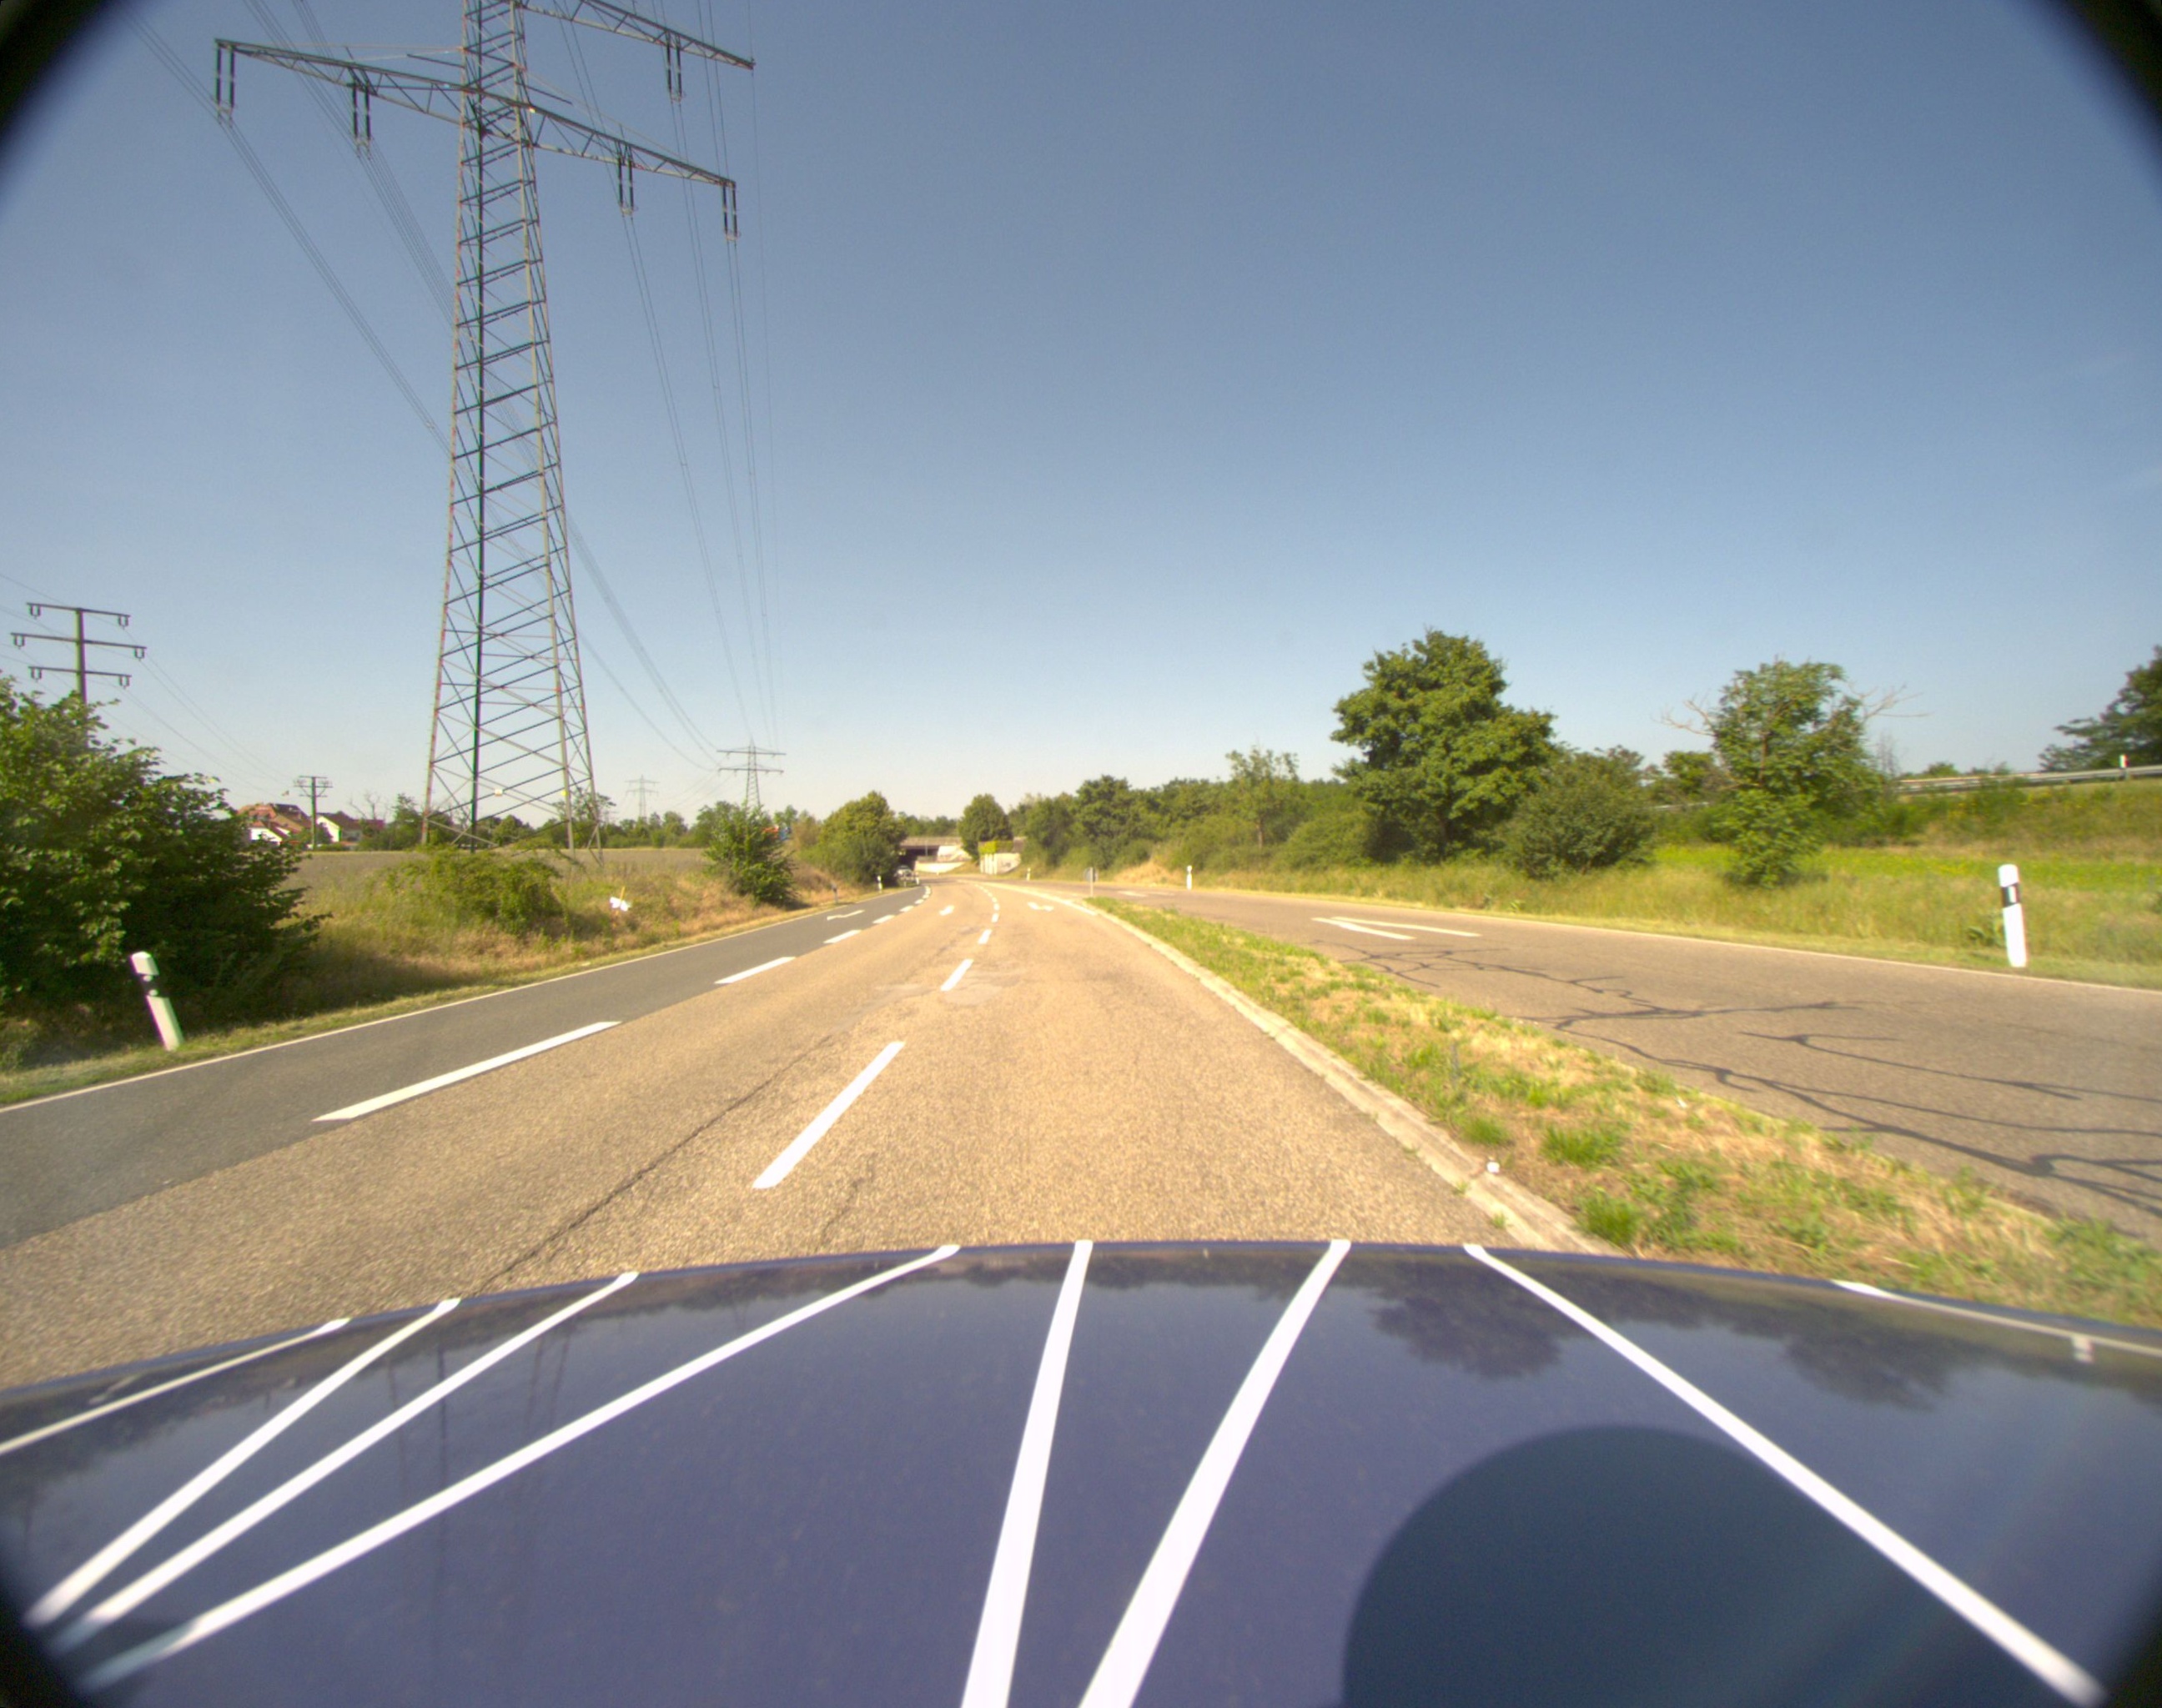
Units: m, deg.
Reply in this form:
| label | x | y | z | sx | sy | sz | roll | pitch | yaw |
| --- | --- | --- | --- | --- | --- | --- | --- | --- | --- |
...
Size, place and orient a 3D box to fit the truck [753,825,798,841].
| label | x | y | z | sx | sy | sz | roll | pitch | yaw |
| --- | --- | --- | --- | --- | --- | --- | --- | --- | --- |
| truck | -70.042 | -4.718 | 174.175 | 11.257 | 3.165 | 2.165 | -2 | 1 | 25 |

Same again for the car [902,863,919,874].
| label | x | y | z | sx | sy | sz | roll | pitch | yaw |
| --- | --- | --- | --- | --- | --- | --- | --- | --- | --- |
| car | -25.080 | 2.157 | 111.629 | 1.863 | 1.609 | 3.641 | -2 | 0 | -23 |
